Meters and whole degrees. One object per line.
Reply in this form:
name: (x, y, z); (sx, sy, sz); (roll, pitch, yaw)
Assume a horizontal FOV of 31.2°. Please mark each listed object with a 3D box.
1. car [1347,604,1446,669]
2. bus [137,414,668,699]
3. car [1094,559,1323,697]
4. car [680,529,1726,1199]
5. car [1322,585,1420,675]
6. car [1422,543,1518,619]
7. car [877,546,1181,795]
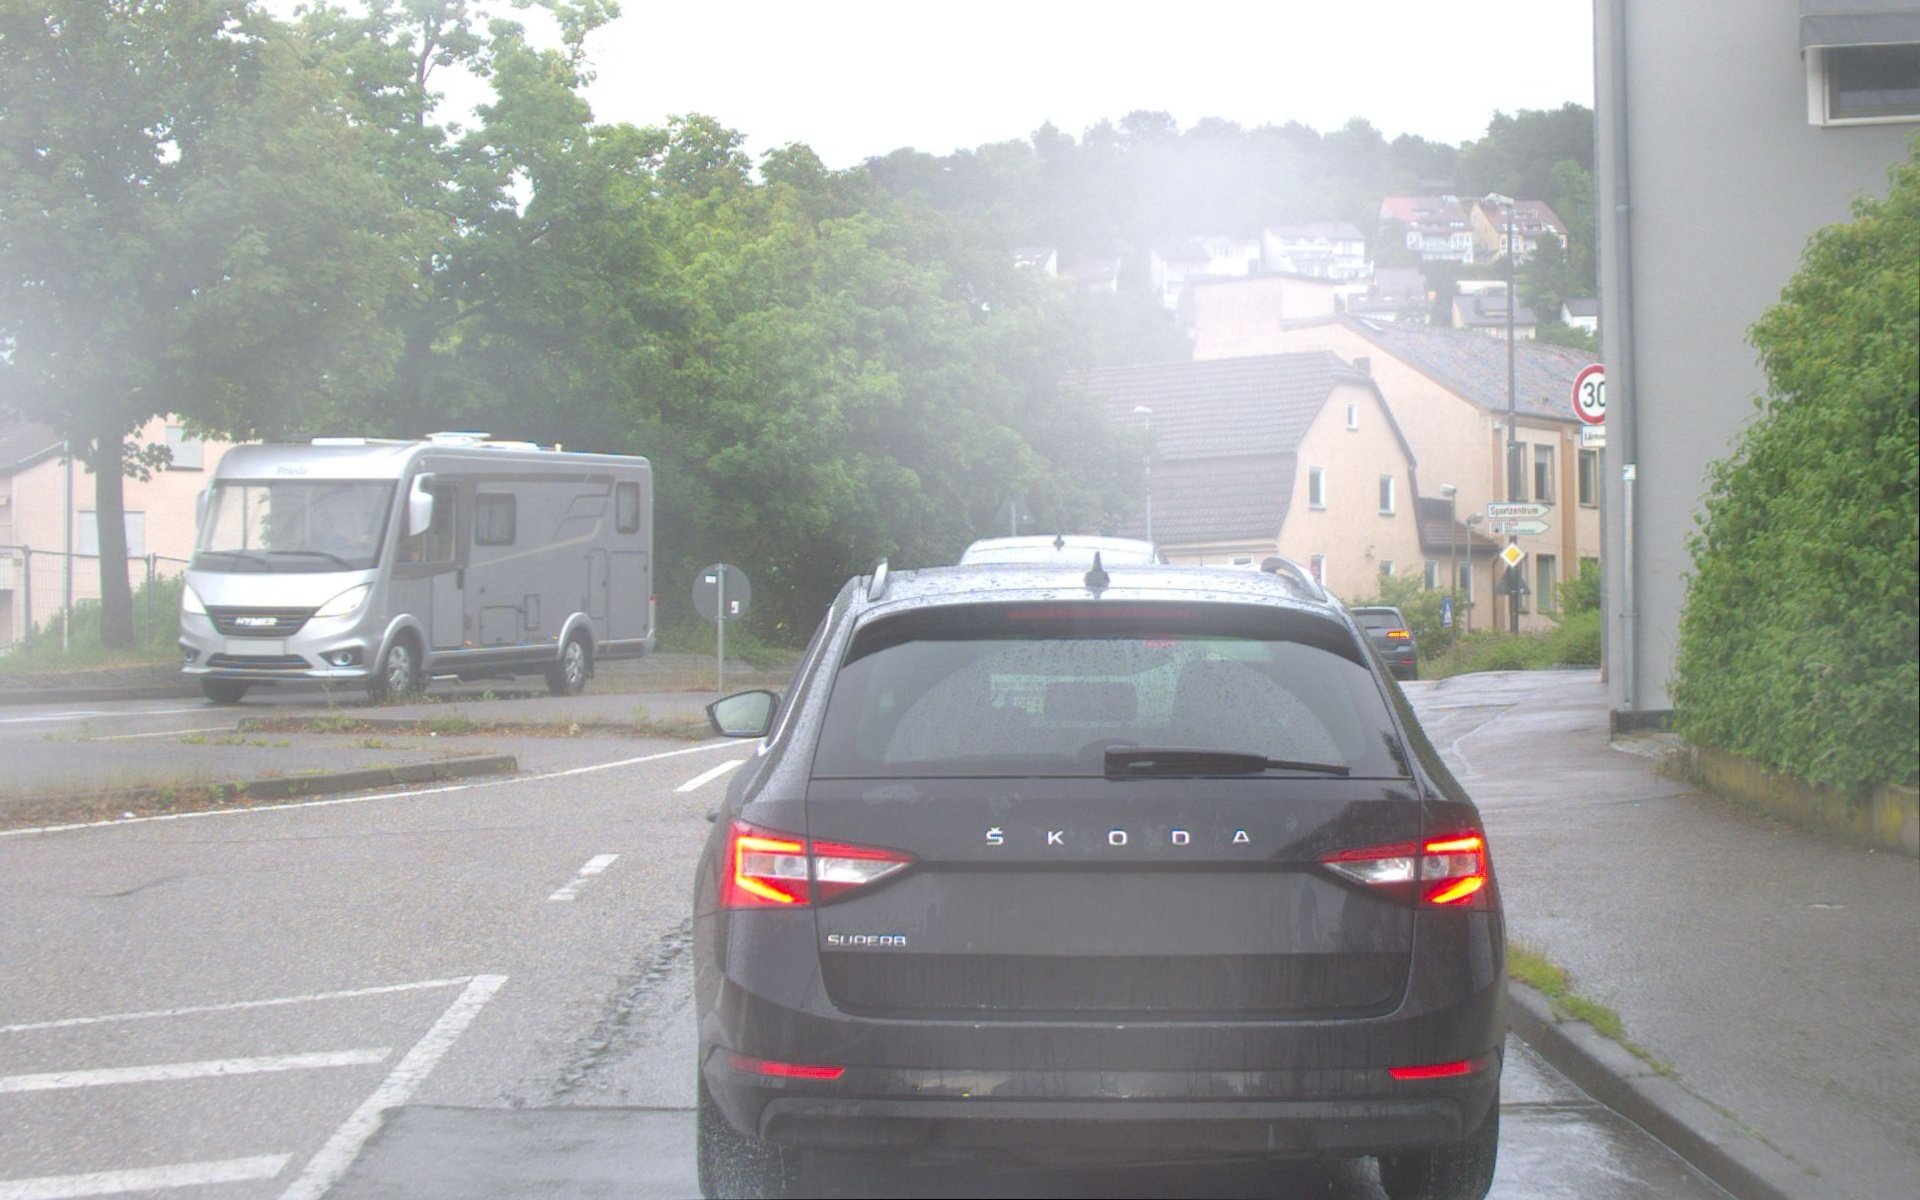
car: (10.668, 0.875, 83.766); (1.994, 1.448, 3.769); (-3, 0, 13)
bus: (-5.593, -0.472, 35.889); (2.399, 2.667, 7.041); (0, 1, 19)
car: (2.750, 0.287, 37.187); (1.849, 1.405, 4.299); (0, 0, 13)
car: (0.428, 0.650, 8.866); (1.954, 1.502, 4.608); (2, 0, -1)
car: (7.467, 0.515, 62.227); (1.568, 1.525, 3.999); (0, 1, 9)
car: (13.869, -0.497, 93.681); (1.993, 2.007, 4.000); (1, 0, 0)
car: (0.508, 0.429, 22.819); (1.829, 1.495, 4.168); (0, 0, 3)
